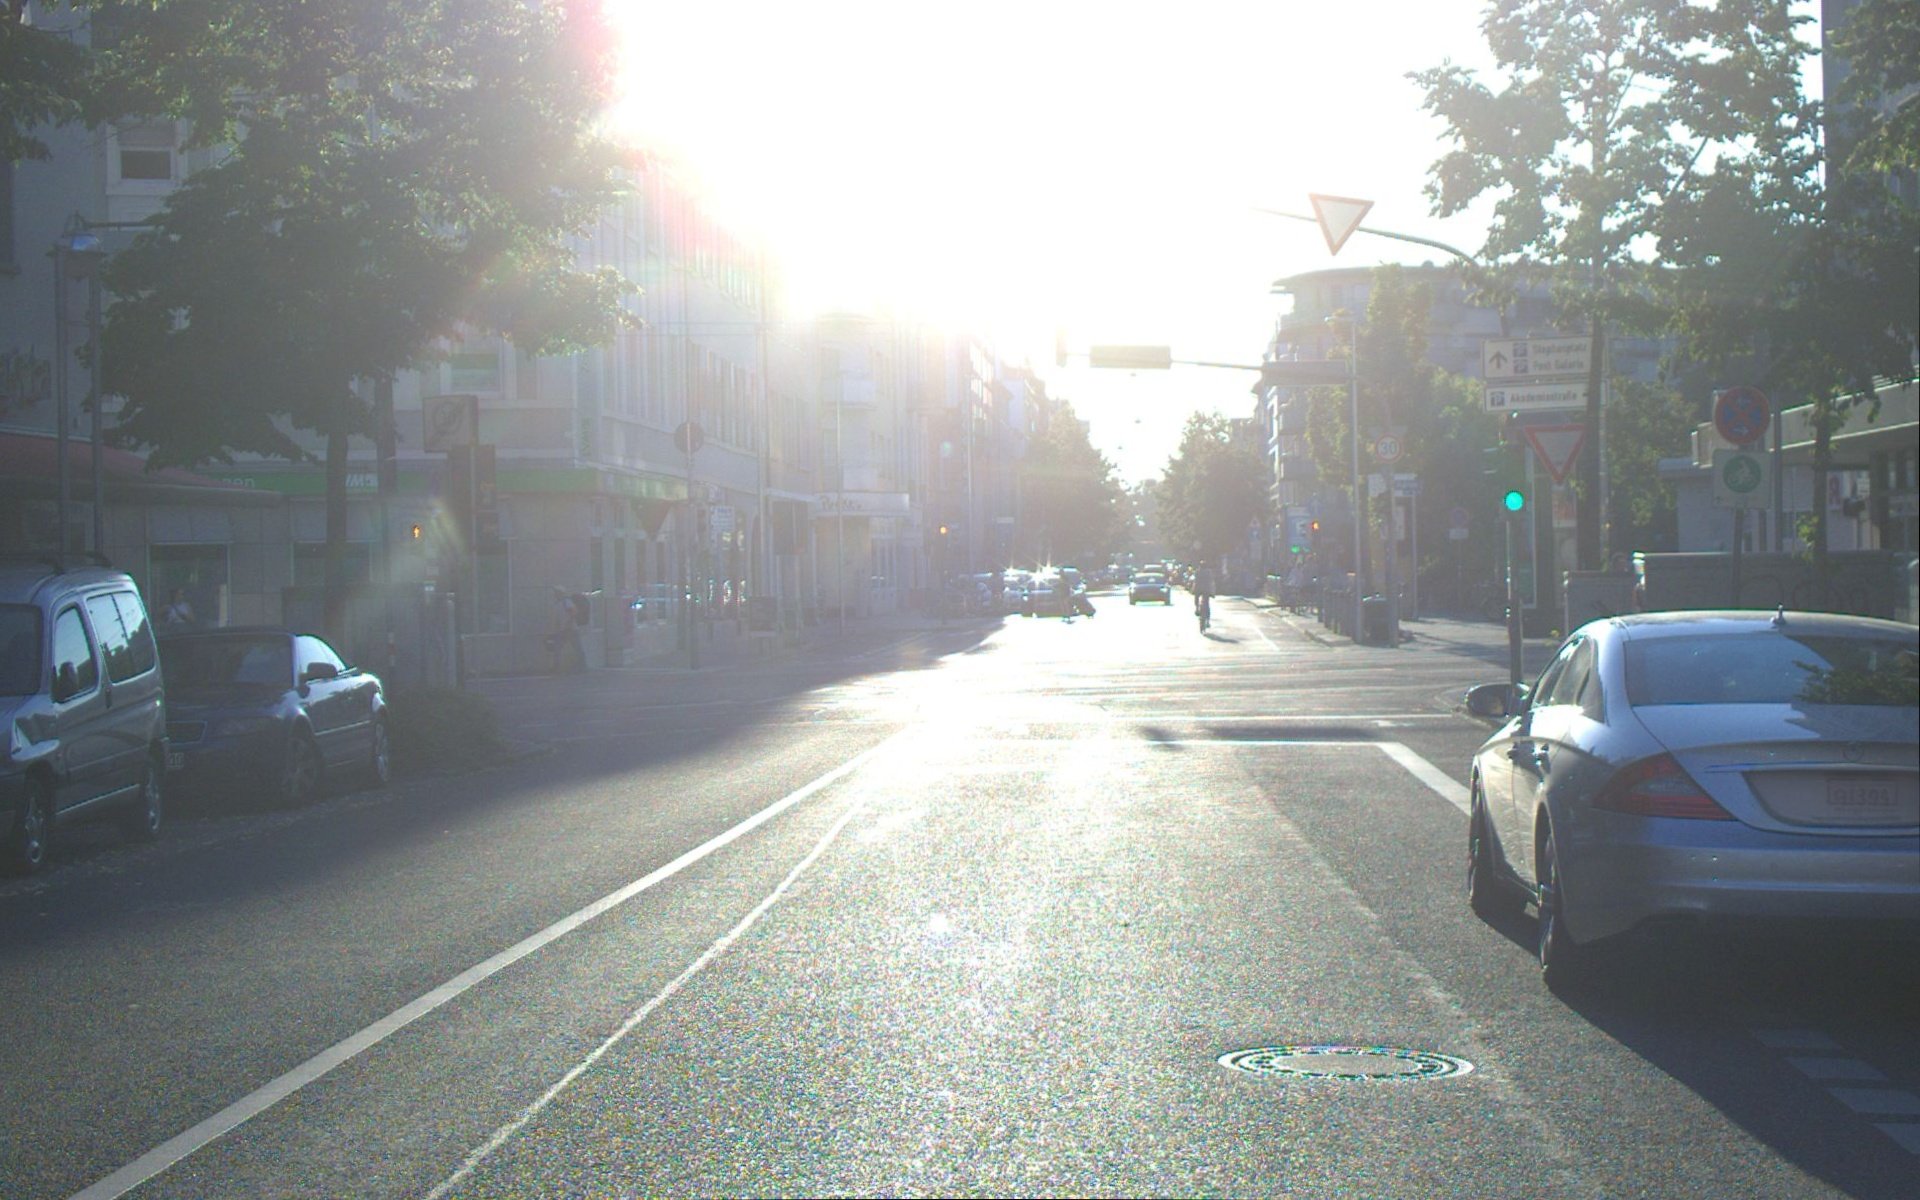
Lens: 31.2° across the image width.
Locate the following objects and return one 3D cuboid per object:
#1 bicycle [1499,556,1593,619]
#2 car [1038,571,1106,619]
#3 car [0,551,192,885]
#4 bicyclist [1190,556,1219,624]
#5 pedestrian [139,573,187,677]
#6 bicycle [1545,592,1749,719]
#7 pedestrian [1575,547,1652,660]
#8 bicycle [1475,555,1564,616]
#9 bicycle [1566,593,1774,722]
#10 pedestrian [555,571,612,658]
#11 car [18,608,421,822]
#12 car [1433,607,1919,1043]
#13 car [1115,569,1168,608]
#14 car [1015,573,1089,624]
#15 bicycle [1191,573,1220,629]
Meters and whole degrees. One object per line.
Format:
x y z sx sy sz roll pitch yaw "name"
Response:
14.626 -0.317 85.851 2.223 1.517 0.681 -1 0 5 "bicycle"
4.186 -0.201 127.627 2.304 1.672 5.531 -1 0 4 "car"
-6.023 0.641 20.458 1.915 1.781 4.148 -2 1 0 "car"
6.266 -0.256 88.032 0.679 1.701 0.669 -1 0 5 "bicyclist"
-13.489 0.417 58.165 0.697 1.739 0.640 -2 0 -18 "pedestrian"
6.753 0.542 33.831 1.913 1.199 0.470 -1 0 5 "bicycle"
10.229 0.051 53.758 0.805 1.720 0.992 -3 -1 32 "pedestrian"
14.482 -0.385 89.013 2.223 1.517 0.680 -1 0 9 "bicycle"
6.870 0.554 33.328 1.913 1.199 0.470 -1 0 5 "bicycle"
-6.837 0.254 62.392 0.867 1.543 0.699 -2 0 -18 "pedestrian"
-5.567 0.816 26.430 1.915 1.381 4.382 -2 1 3 "car"
3.012 0.756 13.698 1.800 1.373 4.552 1 1 3 "car"
8.246 -0.547 155.973 2.304 1.672 5.531 -1 0 4 "car"
3.241 -0.075 120.085 2.304 1.672 5.531 -1 0 4 "car"
6.296 0.025 88.153 0.679 1.397 2.229 -1 0 5 "bicycle"
